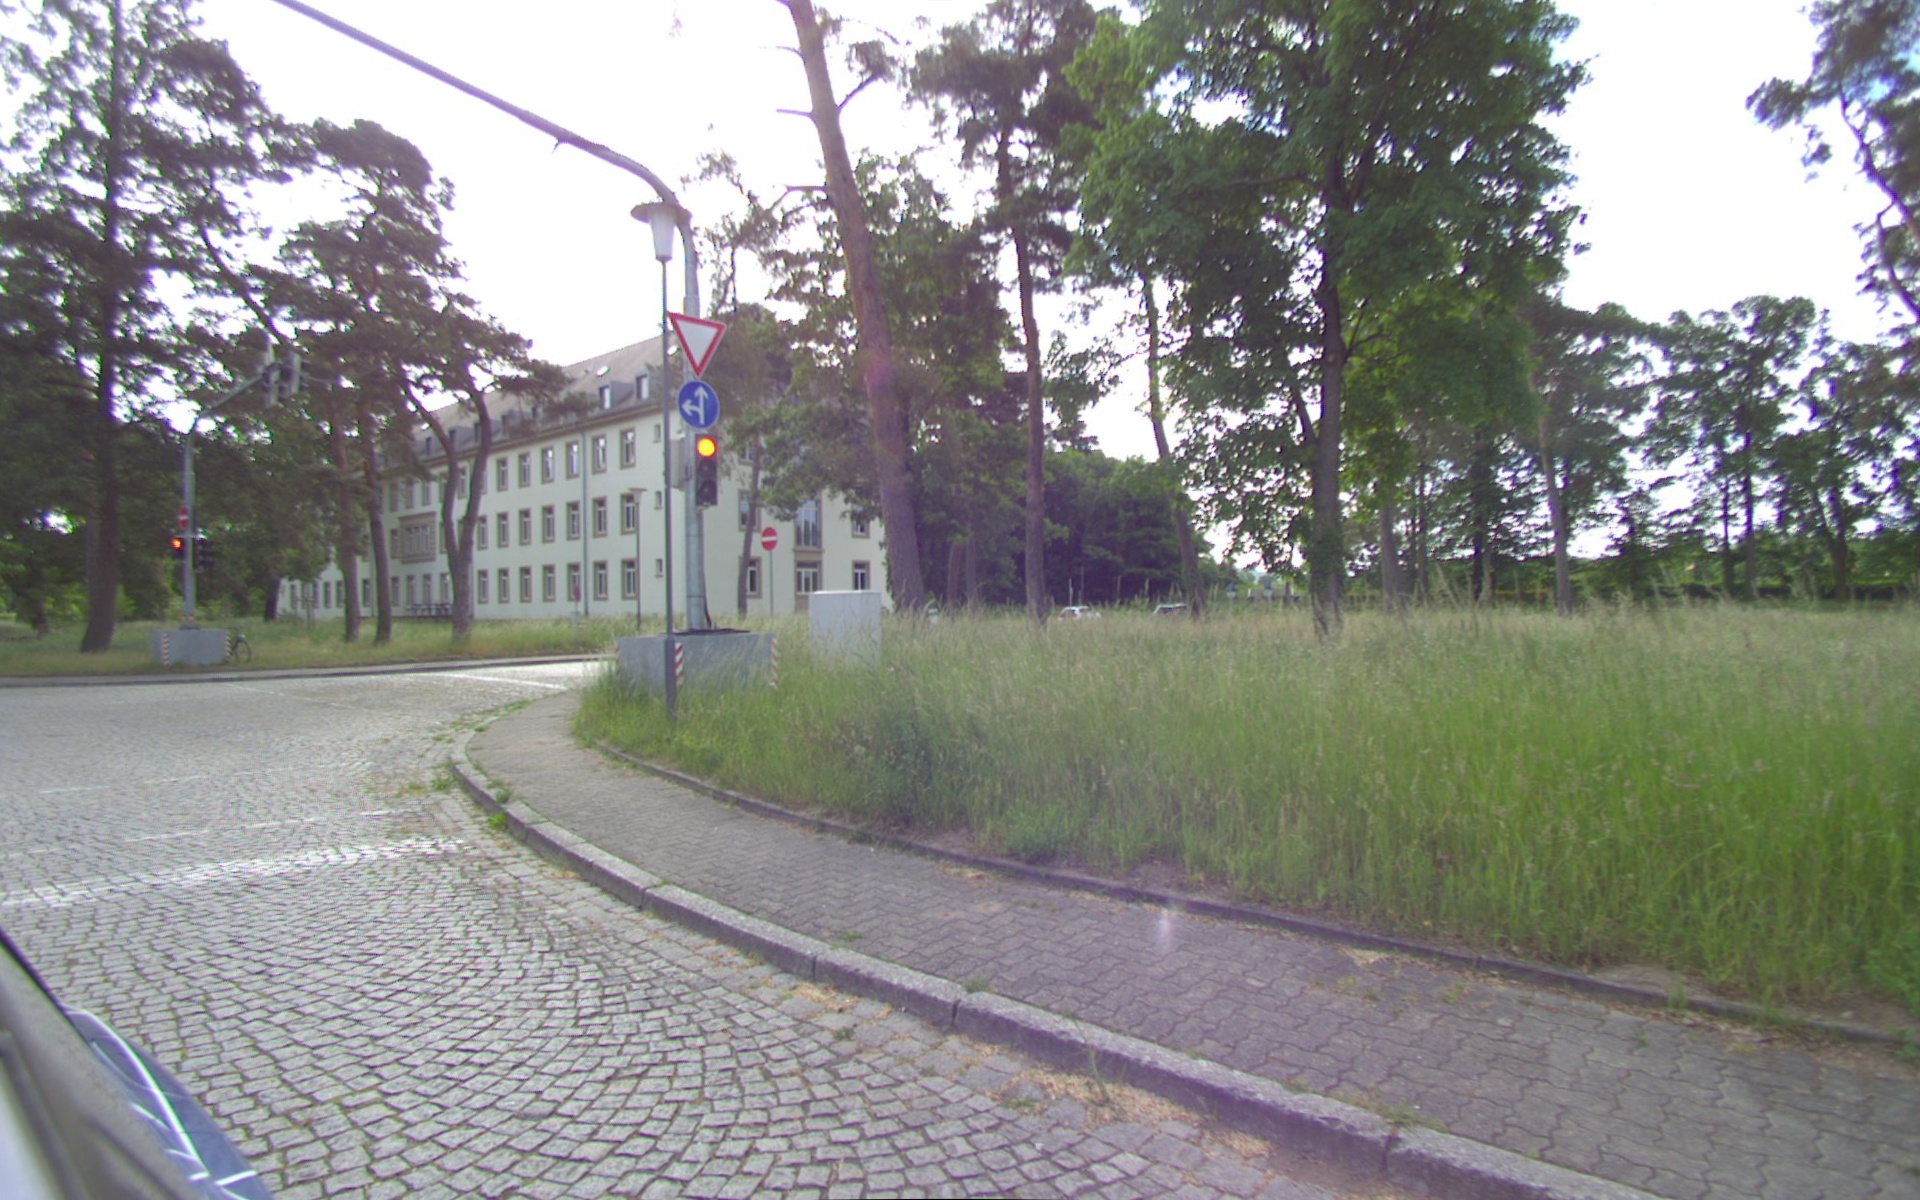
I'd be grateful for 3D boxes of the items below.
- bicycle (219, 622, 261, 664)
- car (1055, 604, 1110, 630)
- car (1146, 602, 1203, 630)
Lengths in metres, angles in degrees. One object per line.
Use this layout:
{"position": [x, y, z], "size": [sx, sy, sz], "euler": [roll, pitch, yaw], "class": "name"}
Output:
{"position": [-19.434, 1.150, 27.315], "size": [1.414, 1.082, 0.491], "euler": [-1, 2, 38], "class": "bicycle"}
{"position": [8.367, 1.132, 69.002], "size": [1.717, 1.622, 3.999], "euler": [1, 1, 44], "class": "car"}
{"position": [13.514, 0.995, 63.630], "size": [1.717, 1.622, 4.001], "euler": [1, 1, 42], "class": "car"}
